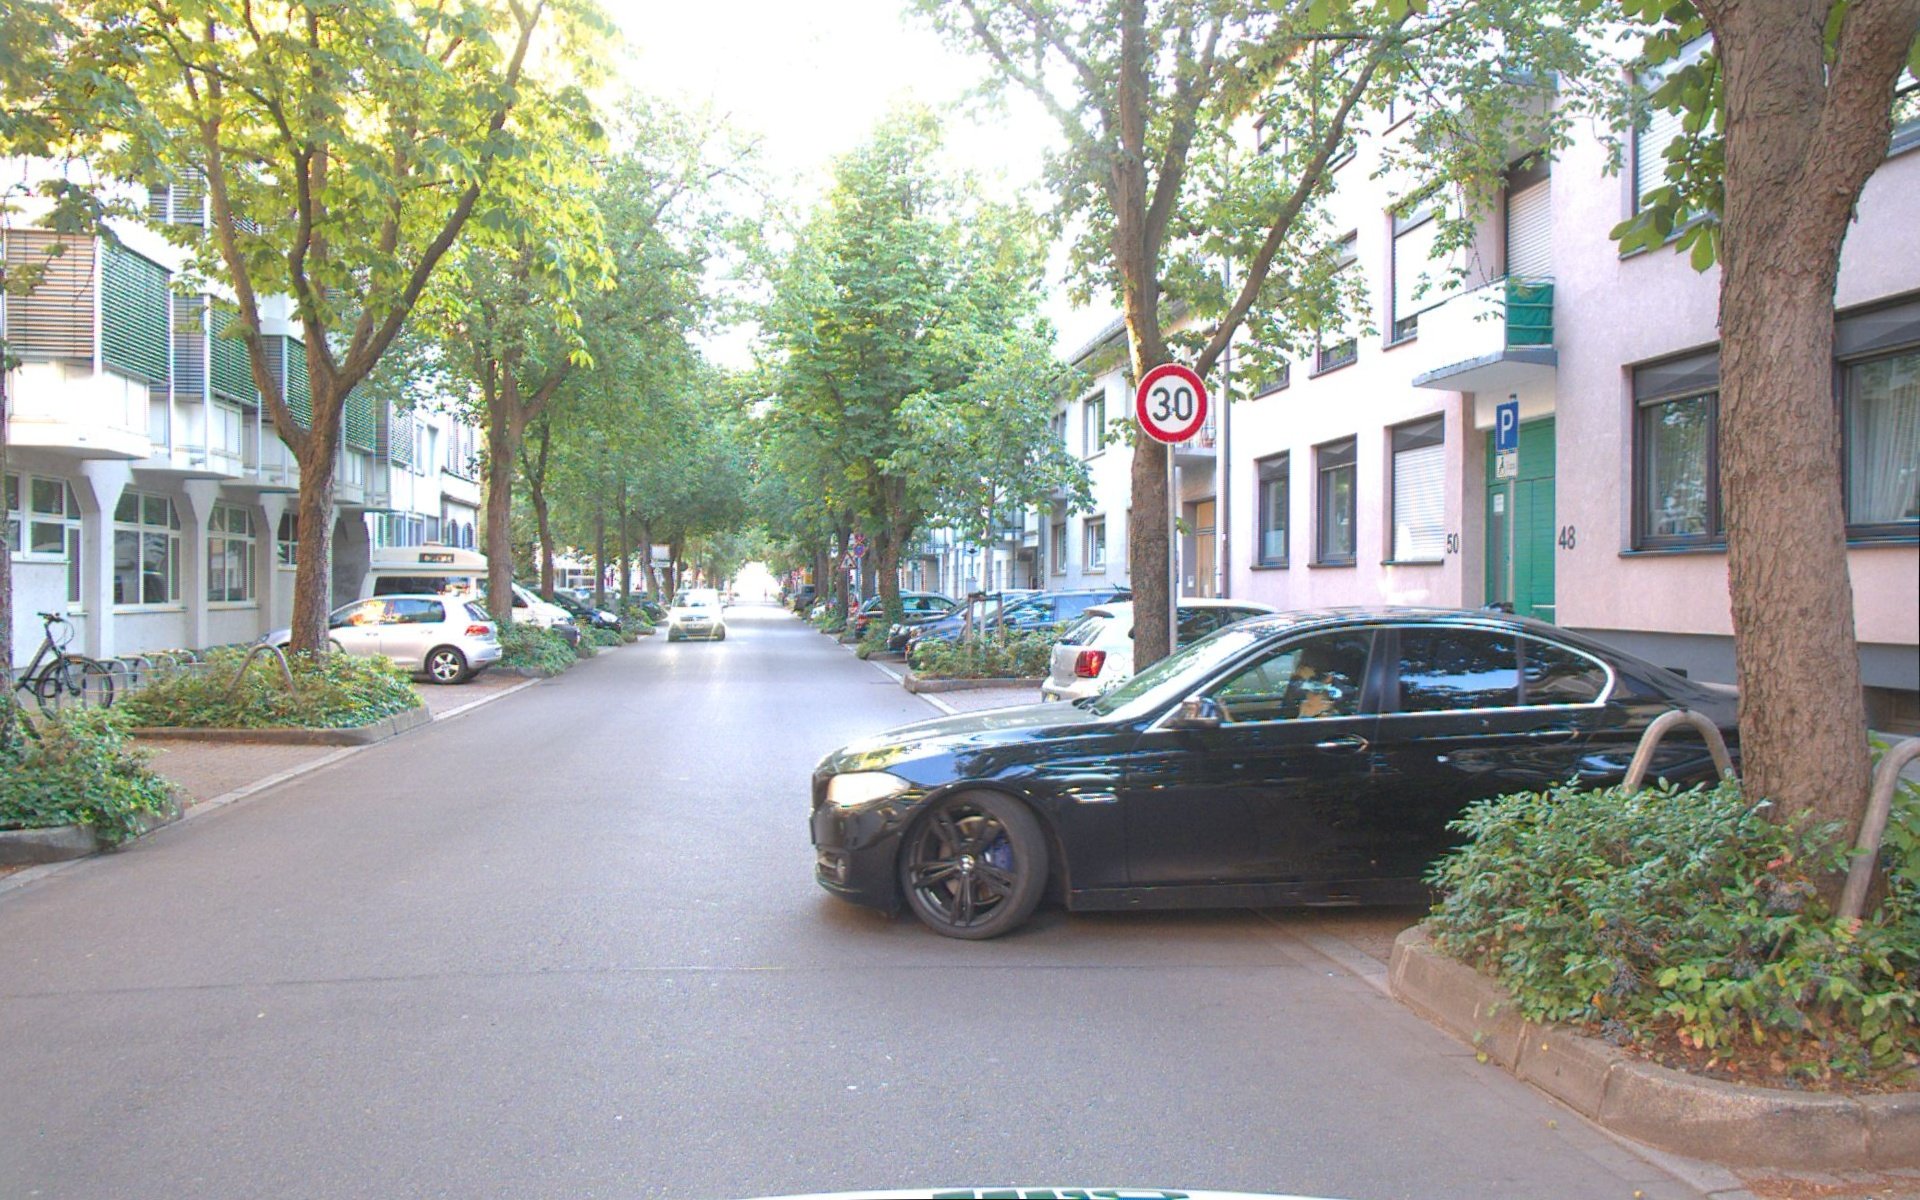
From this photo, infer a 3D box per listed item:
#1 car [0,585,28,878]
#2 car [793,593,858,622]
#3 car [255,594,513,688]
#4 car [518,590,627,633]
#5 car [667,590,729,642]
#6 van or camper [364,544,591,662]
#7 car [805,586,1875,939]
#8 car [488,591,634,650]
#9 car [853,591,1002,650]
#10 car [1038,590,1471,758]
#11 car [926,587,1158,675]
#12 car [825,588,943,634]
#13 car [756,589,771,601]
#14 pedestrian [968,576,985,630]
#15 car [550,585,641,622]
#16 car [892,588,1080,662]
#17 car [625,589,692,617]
[{"bbox_3d":[-7.108,0.706,7.866,4.272,1.544,1.782,0,0,-7],"label":"car"},{"bbox_3d":[-8.180,0.460,100.642,3.891,1.713,1.783,0,0,-6],"label":"car"},{"bbox_3d":[-9.869,0.682,28.577,3.892,1.544,1.783,0,0,-6],"label":"car"},{"bbox_3d":[-15.022,0.438,64.270,3.891,1.647,1.783,0,0,-6],"label":"car"},{"bbox_3d":[-8.346,0.478,52.985,1.745,1.589,4.162,0,0,-6],"label":"car"},{"bbox_3d":[-10.680,0.054,36.879,4.575,2.521,1.997,0,0,-7],"label":"van or camper"},{"bbox_3d":[1.650,0.693,8.055,4.648,1.506,1.800,0,0,-1],"label":"car"},{"bbox_3d":[-11.500,0.562,47.857,3.892,1.647,1.783,0,0,-6],"label":"car"},{"bbox_3d":[-0.916,0.531,44.937,3.893,1.554,1.782,0,0,-8],"label":"car"},{"bbox_3d":[2.799,0.663,16.106,3.836,1.502,1.661,0,0,-9],"label":"car"},{"bbox_3d":[1.436,0.534,29.686,3.894,1.502,1.781,0,0,-9],"label":"car"},{"bbox_3d":[-2.638,0.359,56.777,3.894,1.554,1.782,0,0,-9],"label":"car"},{"bbox_3d":[-25.608,-0.627,215.519,1.787,1.557,3.995,0,0,-6],"label":"car"},{"bbox_3d":[0.624,0.120,63.555,0.577,2.049,0.669,0,0,-6],"label":"pedestrian"},{"bbox_3d":[-16.696,0.147,75.860,3.891,1.647,1.783,0,0,-6],"label":"car"},{"bbox_3d":[0.536,0.522,36.149,3.893,1.554,1.782,0,0,-8],"label":"car"},{"bbox_3d":[-18.571,0.175,101.885,3.891,1.647,1.783,0,0,-6],"label":"car"}]
